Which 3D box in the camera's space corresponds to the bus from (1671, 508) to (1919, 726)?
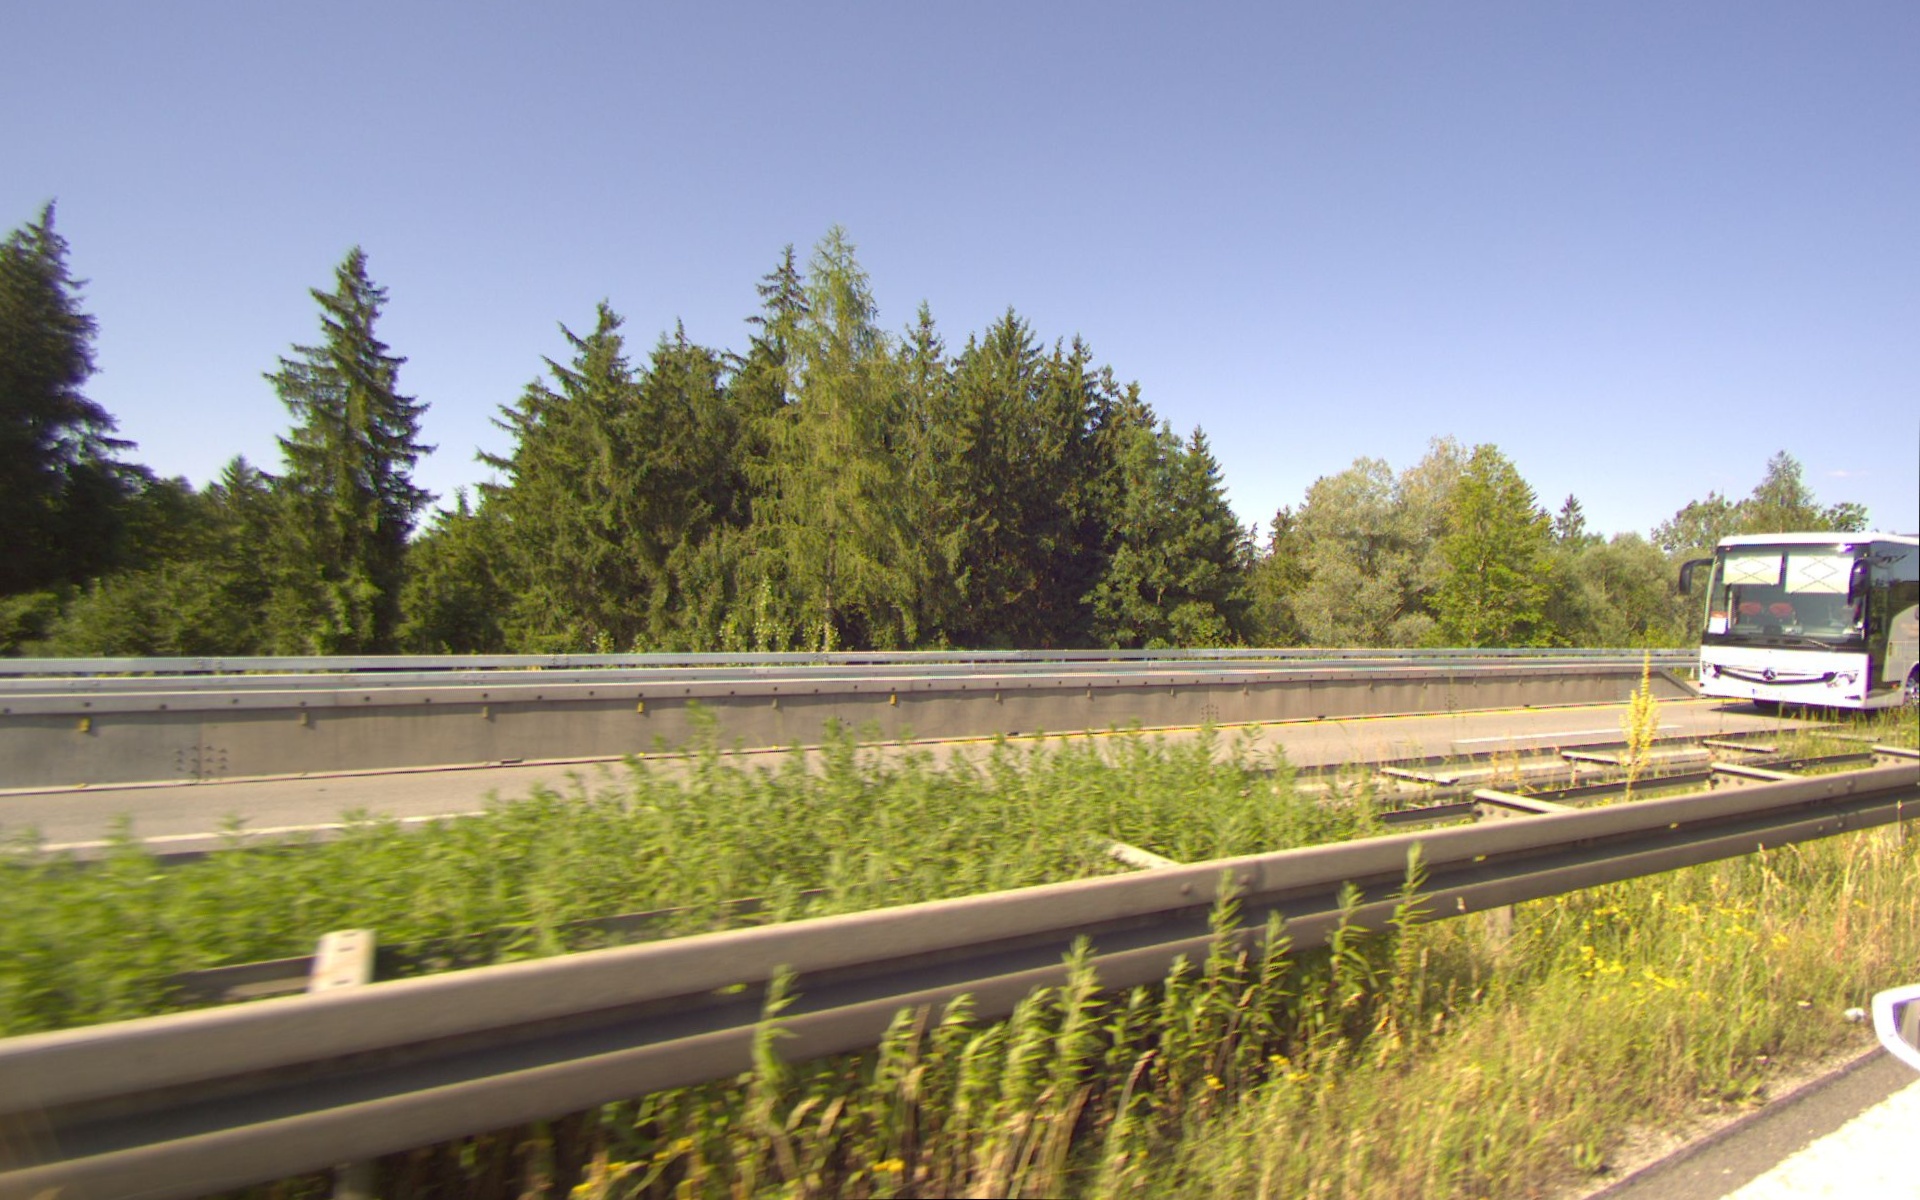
[{"bbox_3d":[20.138,0.439,21.759,12.770,3.719,2.866,2,0,-31],"label":"bus"}]
